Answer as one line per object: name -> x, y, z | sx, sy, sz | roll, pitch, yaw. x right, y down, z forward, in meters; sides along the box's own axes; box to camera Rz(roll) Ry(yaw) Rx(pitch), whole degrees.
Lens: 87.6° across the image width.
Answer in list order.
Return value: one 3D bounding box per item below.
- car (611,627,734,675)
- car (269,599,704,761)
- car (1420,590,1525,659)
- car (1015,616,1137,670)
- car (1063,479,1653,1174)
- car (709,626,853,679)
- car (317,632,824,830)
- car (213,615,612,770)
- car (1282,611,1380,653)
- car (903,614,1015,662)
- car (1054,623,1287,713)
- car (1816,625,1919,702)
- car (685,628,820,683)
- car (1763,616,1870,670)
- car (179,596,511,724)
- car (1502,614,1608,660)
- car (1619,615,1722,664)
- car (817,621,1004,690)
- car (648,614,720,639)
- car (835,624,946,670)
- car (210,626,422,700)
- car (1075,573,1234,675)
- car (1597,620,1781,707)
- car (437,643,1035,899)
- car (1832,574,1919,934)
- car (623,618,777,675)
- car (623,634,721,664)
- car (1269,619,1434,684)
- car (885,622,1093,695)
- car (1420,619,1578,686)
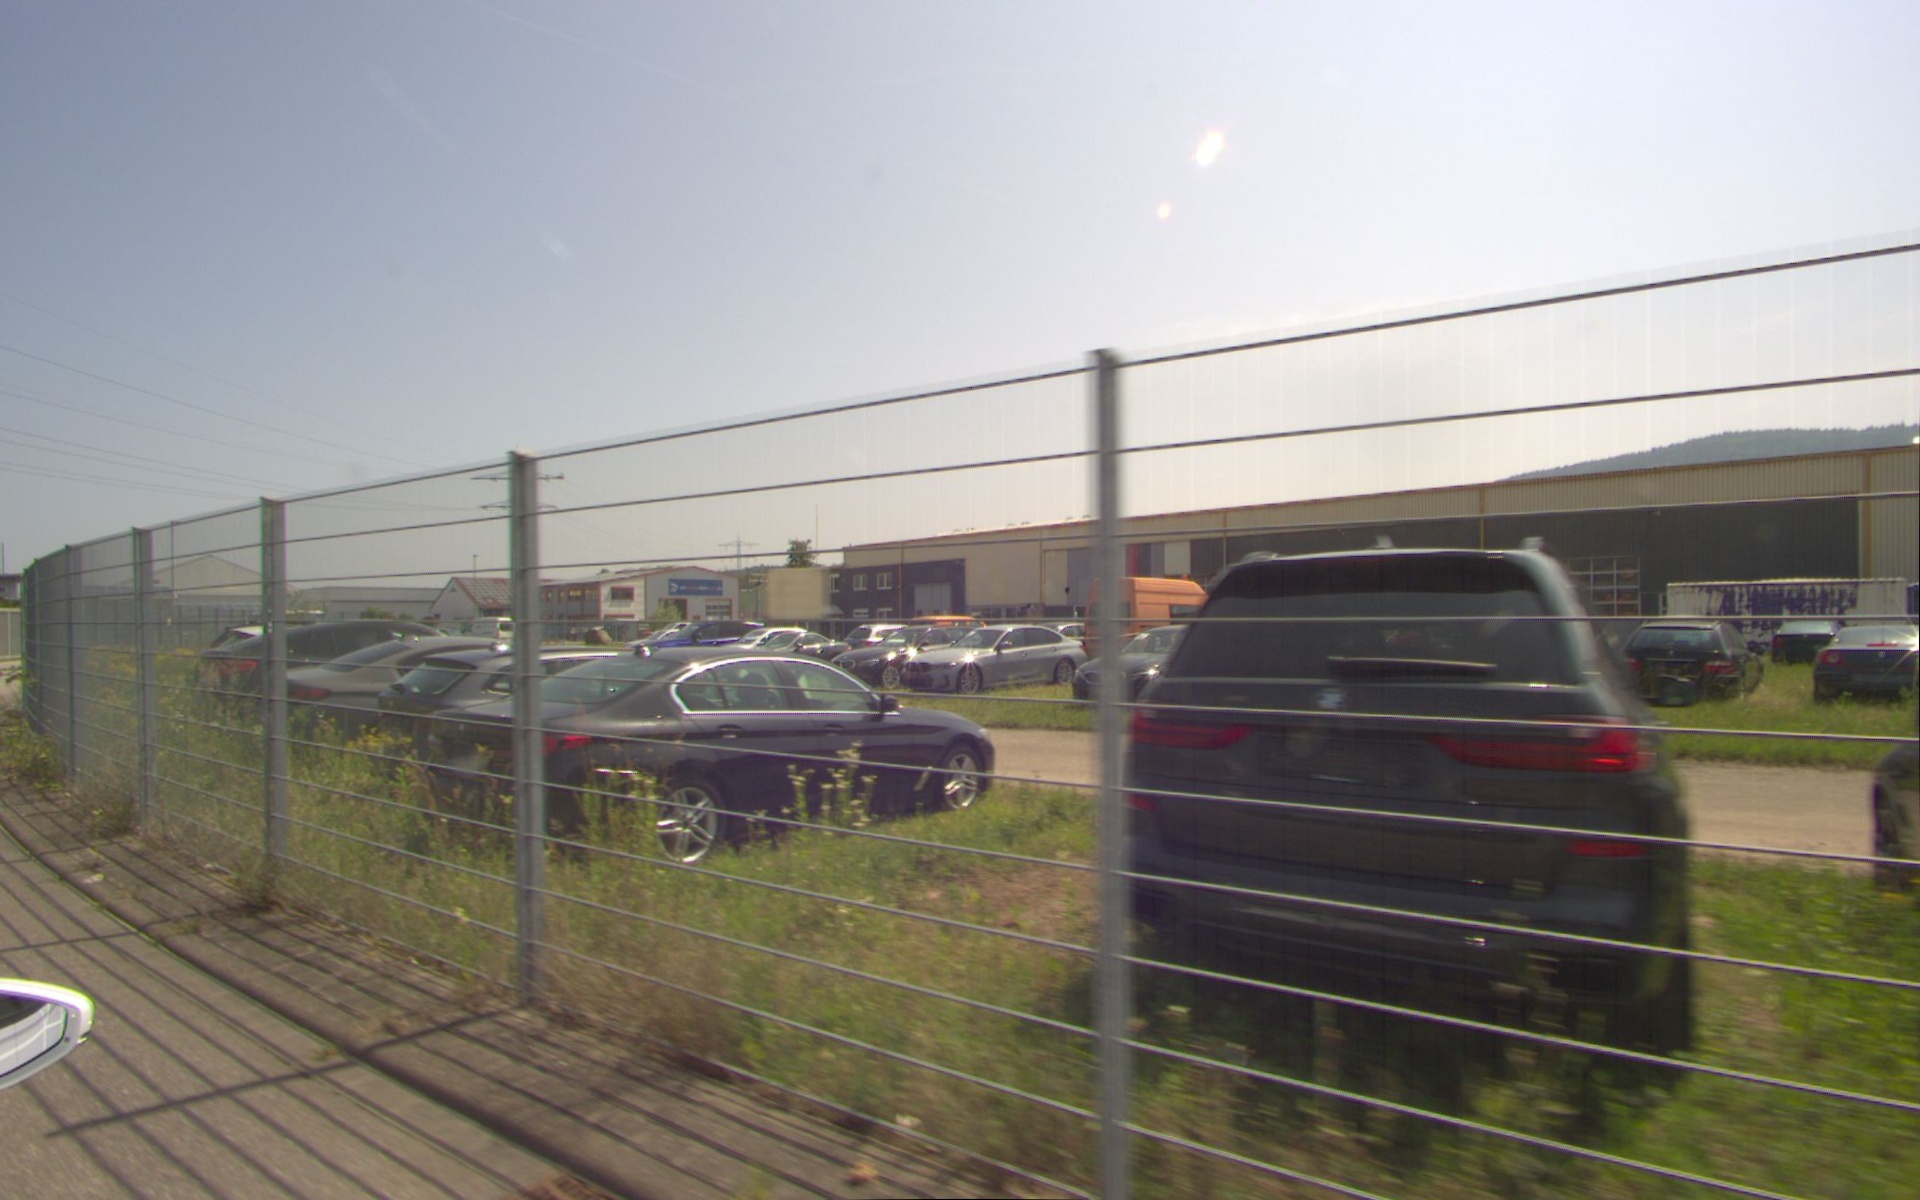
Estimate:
car -> -9.740, 1.677, 34.064 | 3.734, 1.456, 1.597 | 0, 0, -42
car -> -5.529, 0.799, 12.098 | 4.439, 1.603, 1.779 | 0, 0, -44
car -> 17.447, 0.794, 34.001 | 1.954, 2.200, 4.348 | 0, 0, 45
car -> 3.558, 1.261, 30.355 | 3.789, 1.481, 1.574 | 0, 0, -42
car -> 2.374, 0.599, 5.010 | 1.718, 1.792, 4.673 | 0, 0, 34
car -> -4.981, 1.429, 28.149 | 3.734, 1.319, 1.597 | 0, 0, -42
car -> -3.606, 1.085, 9.985 | 1.703, 1.400, 4.447 | 0, 0, 41
car -> -7.144, 1.078, 13.353 | 4.434, 1.692, 1.708 | 0, 0, -40
car -> 14.433, 1.180, 38.828 | 1.954, 1.505, 4.348 | 0, 0, 45
car -> 0.012, 1.250, 34.165 | 3.789, 1.481, 1.574 | 0, 0, -42
car -> 3.983, 1.148, 18.422 | 4.710, 1.369, 1.804 | 0, 0, -43
car -> 15.498, 0.985, 16.505 | 4.344, 1.046, 1.604 | 0, 0, -43
car -> -6.232, 1.620, 30.256 | 3.734, 1.456, 1.597 | 0, 0, -42
car -> 24.578, 1.171, 28.695 | 4.344, 1.396, 1.825 | 0, 0, -42
car -> -9.208, 0.801, 15.178 | 4.089, 1.692, 1.708 | 0, 0, -40
car -> 19.267, 1.139, 32.345 | 1.954, 1.340, 4.348 | 0, 0, 45
car -> 22.462, 1.186, 31.602 | 1.954, 1.404, 4.348 | 0, 0, 45
car -> -1.111, 1.268, 24.213 | 4.528, 1.451, 1.647 | 0, 0, -43
car -> -21.142, 2.031, 76.817 | 5.023, 1.924, 1.841 | 1, -2, -41
car -> -2.422, 1.613, 35.509 | 3.789, 1.481, 1.574 | 0, 0, -42
car -> -16.021, 1.514, 25.176 | 4.225, 1.659, 1.759 | 0, 0, -24
car -> 5.501, 0.633, 27.991 | 4.697, 2.619, 1.962 | 0, 0, -42
car -> 13.139, 1.043, 17.955 | 4.344, 1.292, 1.861 | 0, 0, -42
car -> -1.429, 1.057, 7.864 | 1.703, 1.399, 4.444 | 0, -2, 41
car -> 4.798, 0.686, 3.666 | 1.667, 1.624, 4.288 | 0, 0, 31
car -> -8.318, 1.436, 32.234 | 4.423, 1.670, 1.863 | 0, 0, -38
car -> -14.396, 2.419, 50.155 | 4.476, 1.368, 1.612 | 1, -2, -41
car -> 8.989, 1.099, 22.841 | 4.344, 1.286, 1.804 | 0, 0, -42
car -> 0.741, 1.217, 22.280 | 4.710, 1.369, 1.804 | 0, 0, -43
car -> 11.222, 1.018, 20.708 | 4.344, 1.199, 1.562 | 0, 0, -43
